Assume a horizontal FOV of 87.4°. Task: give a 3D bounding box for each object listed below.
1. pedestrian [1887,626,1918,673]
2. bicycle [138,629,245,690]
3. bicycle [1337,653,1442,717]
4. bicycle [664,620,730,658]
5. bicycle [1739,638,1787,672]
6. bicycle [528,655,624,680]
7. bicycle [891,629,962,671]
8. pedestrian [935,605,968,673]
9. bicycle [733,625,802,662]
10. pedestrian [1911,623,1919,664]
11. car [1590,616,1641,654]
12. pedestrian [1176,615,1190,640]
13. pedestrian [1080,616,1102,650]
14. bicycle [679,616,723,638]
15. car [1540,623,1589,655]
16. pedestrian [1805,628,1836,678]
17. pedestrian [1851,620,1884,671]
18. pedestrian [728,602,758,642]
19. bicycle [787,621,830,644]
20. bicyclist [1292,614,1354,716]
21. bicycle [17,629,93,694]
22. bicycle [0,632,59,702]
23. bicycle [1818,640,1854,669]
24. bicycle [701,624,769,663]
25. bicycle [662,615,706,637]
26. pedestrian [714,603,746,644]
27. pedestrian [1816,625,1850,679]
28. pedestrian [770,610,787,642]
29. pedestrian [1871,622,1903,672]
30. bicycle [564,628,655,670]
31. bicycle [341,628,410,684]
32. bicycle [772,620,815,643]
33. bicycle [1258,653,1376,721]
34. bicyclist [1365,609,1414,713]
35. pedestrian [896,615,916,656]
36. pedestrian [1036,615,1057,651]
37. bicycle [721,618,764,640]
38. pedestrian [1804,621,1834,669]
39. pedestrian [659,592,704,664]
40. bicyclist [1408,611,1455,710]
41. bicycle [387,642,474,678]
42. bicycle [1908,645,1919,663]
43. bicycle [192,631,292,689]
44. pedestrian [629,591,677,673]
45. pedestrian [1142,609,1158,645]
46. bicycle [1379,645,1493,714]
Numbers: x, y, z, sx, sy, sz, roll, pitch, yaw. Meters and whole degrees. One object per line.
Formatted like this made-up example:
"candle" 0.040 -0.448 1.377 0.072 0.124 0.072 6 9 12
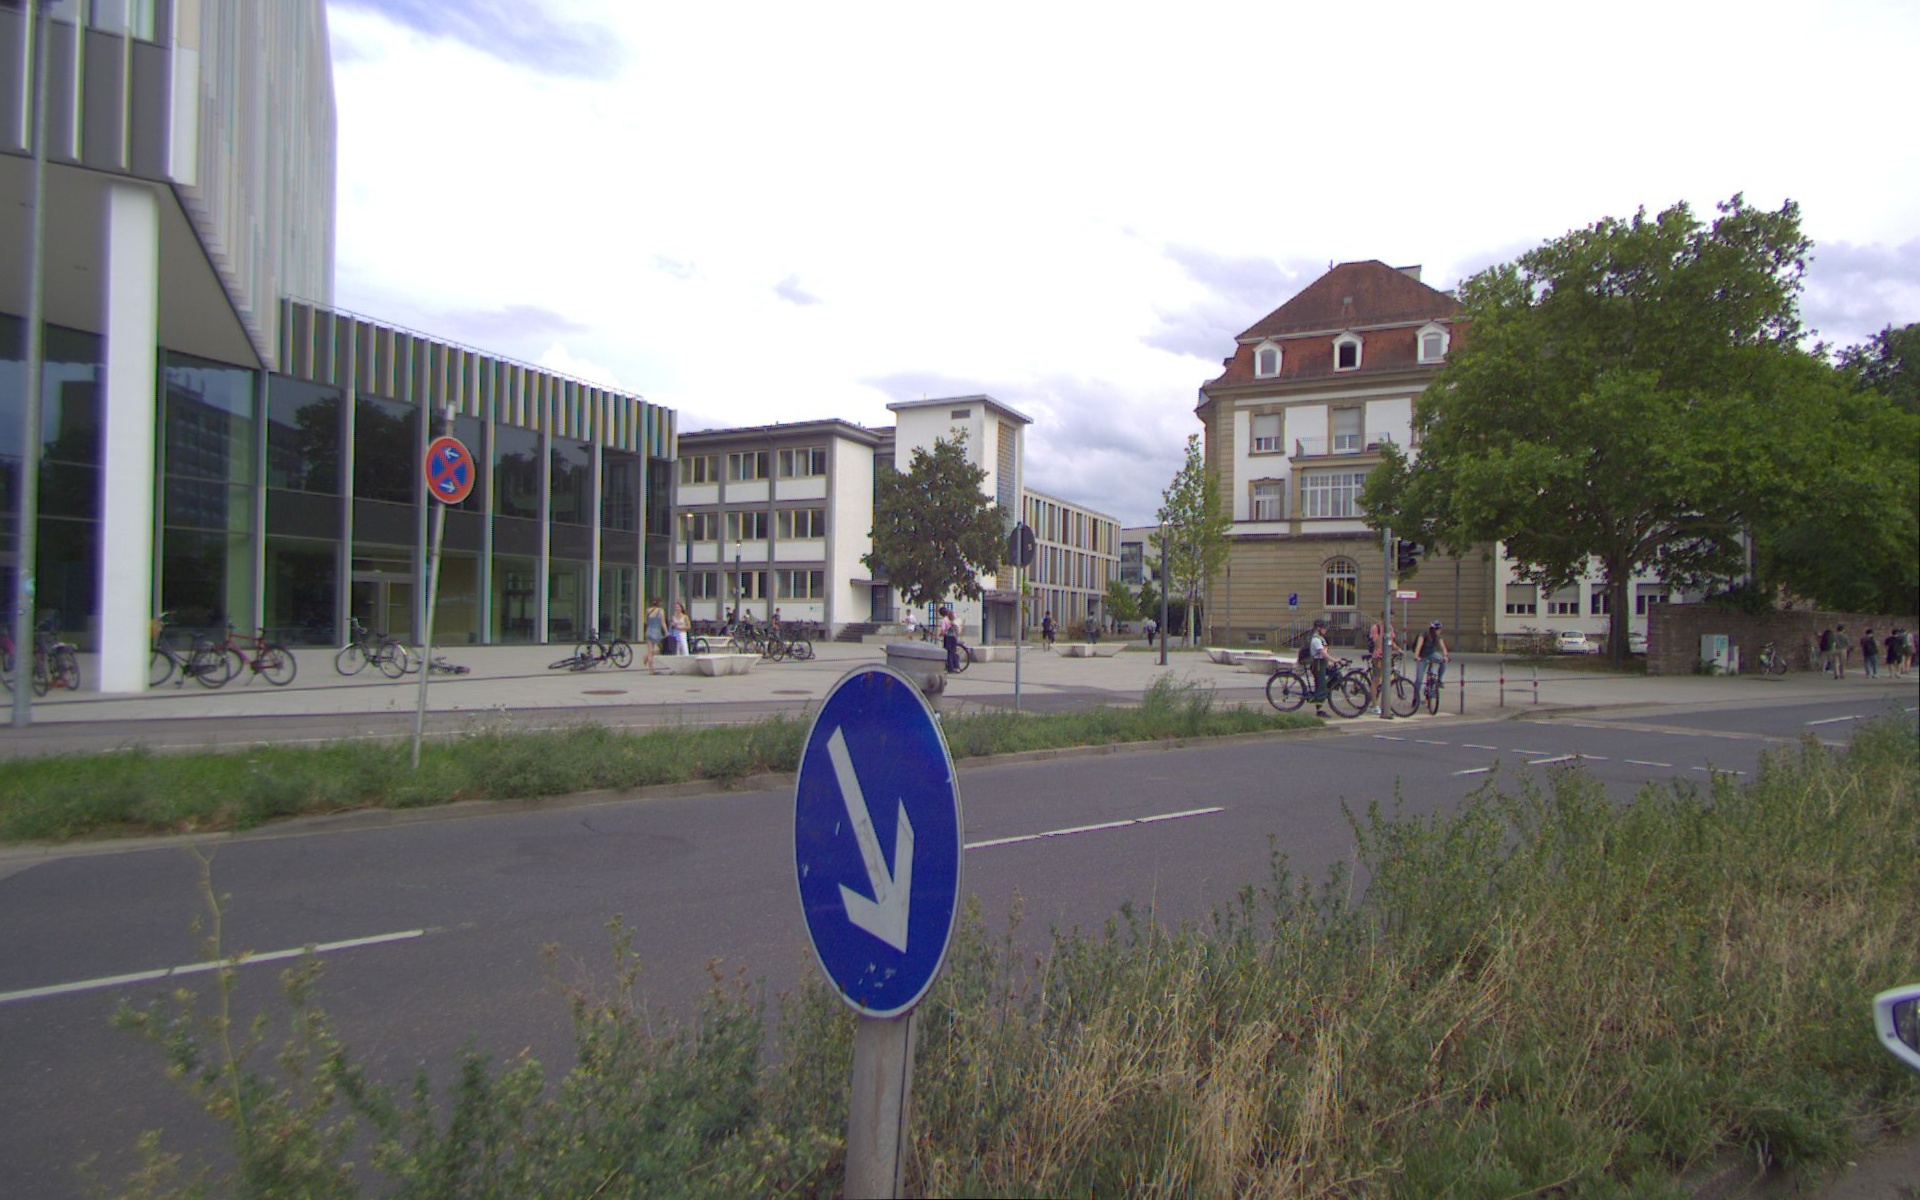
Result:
"pedestrian" 36.857 1.927 39.279 0.749 1.806 0.912 1 -2 35
"bicycle" -13.151 1.014 17.193 1.566 0.950 0.394 2 1 4
"bicycle" 7.822 1.526 18.342 0.567 1.002 1.671 1 0 -43
"bicycle" -7.710 1.120 29.340 0.669 1.013 2.648 1 -1 -44
"bicycle" 28.459 1.943 35.591 2.140 1.141 0.574 1 2 -32
"bicycle" -9.315 1.641 24.372 2.205 0.528 0.624 0 -1 13
"bicycle" -0.822 1.225 24.834 1.726 1.012 0.437 1 -1 -27
"pedestrian" -0.210 0.932 24.281 0.566 1.602 0.649 1 -1 -24
"bicycle" -6.060 1.343 31.527 0.792 1.104 2.648 1 -1 -44
"pedestrian" 43.276 1.976 45.075 0.749 1.806 0.781 1 -2 35
"car" 36.726 1.941 56.331 1.752 2.040 3.998 0 -1 24
"pedestrian" 18.302 2.229 82.437 0.900 2.040 1.231 0 -1 24
"pedestrian" 6.030 1.520 46.194 0.725 1.569 0.700 1 -1 -23
"bicycle" -13.977 1.456 54.334 0.732 1.149 2.670 0 -1 26
"car" 34.944 2.238 58.118 1.874 1.774 3.998 0 -1 23
"pedestrian" 31.654 1.939 36.951 0.748 1.806 0.782 1 -2 32
"pedestrian" 32.516 1.629 35.986 0.748 1.806 0.782 1 -2 34
"pedestrian" -10.828 1.115 50.093 1.051 1.956 0.974 0 -1 27
"bicycle" -7.684 1.630 51.058 0.732 1.149 2.670 0 -1 26
"bicyclist" 6.322 1.116 17.476 0.719 1.695 0.719 2 1 -43
"bicycle" -14.777 0.985 16.387 1.568 0.950 0.393 2 1 28
"bicycle" -14.363 1.003 15.327 1.581 0.950 0.393 2 1 28
"bicycle" 35.047 2.179 40.177 1.960 1.072 0.545 1 2 -34
"bicycle" -6.897 1.313 30.697 0.792 1.104 2.648 1 -1 -44
"bicycle" -15.059 1.425 54.884 0.732 1.149 2.670 0 -1 26
"pedestrian" -11.159 1.122 48.732 1.051 1.956 0.973 2 0 27
"pedestrian" 29.821 1.768 34.332 0.734 1.806 0.782 1 -2 31
"pedestrian" -9.110 1.306 50.447 0.644 1.569 0.599 1 -1 13
"pedestrian" 34.211 1.732 37.092 0.749 1.806 0.781 1 -2 35
"bicycle" -9.012 1.249 25.853 2.205 0.998 0.624 1 -1 13
"bicycle" -11.902 1.129 20.450 1.517 1.043 0.394 2 1 24
"bicycle" -8.580 1.607 51.917 0.732 1.149 2.670 0 -1 26
"bicycle" 6.227 1.494 17.571 0.723 1.002 1.799 2 0 -43
"bicyclist" 7.840 1.097 18.332 0.558 1.831 0.594 2 1 -43
"pedestrian" -2.435 1.586 45.198 0.626 1.802 0.594 0 -1 37
"pedestrian" 3.809 1.450 44.225 0.648 1.569 0.706 1 -1 -23
"bicycle" -11.553 1.524 53.372 0.732 1.149 2.670 0 -1 26
"pedestrian" 32.979 1.735 38.575 0.733 1.806 0.783 1 -2 29
"pedestrian" -6.426 0.639 23.175 0.717 1.621 0.677 1 -1 30
"bicyclist" 8.989 1.137 19.161 0.558 1.831 0.594 2 1 -43
"bicycle" -11.517 1.288 21.836 1.759 0.682 0.394 2 1 8
"bicycle" 46.072 2.580 48.290 1.605 0.807 0.437 0 2 -36
"bicycle" -12.953 1.075 18.127 1.566 0.950 0.394 2 1 4
"pedestrian" -6.807 0.698 22.258 0.717 1.763 0.678 1 -1 27
"pedestrian" 11.033 1.570 58.319 0.779 2.040 0.835 0 -1 24
"bicycle" 9.020 1.486 19.081 0.603 1.185 1.871 1 -1 -44
